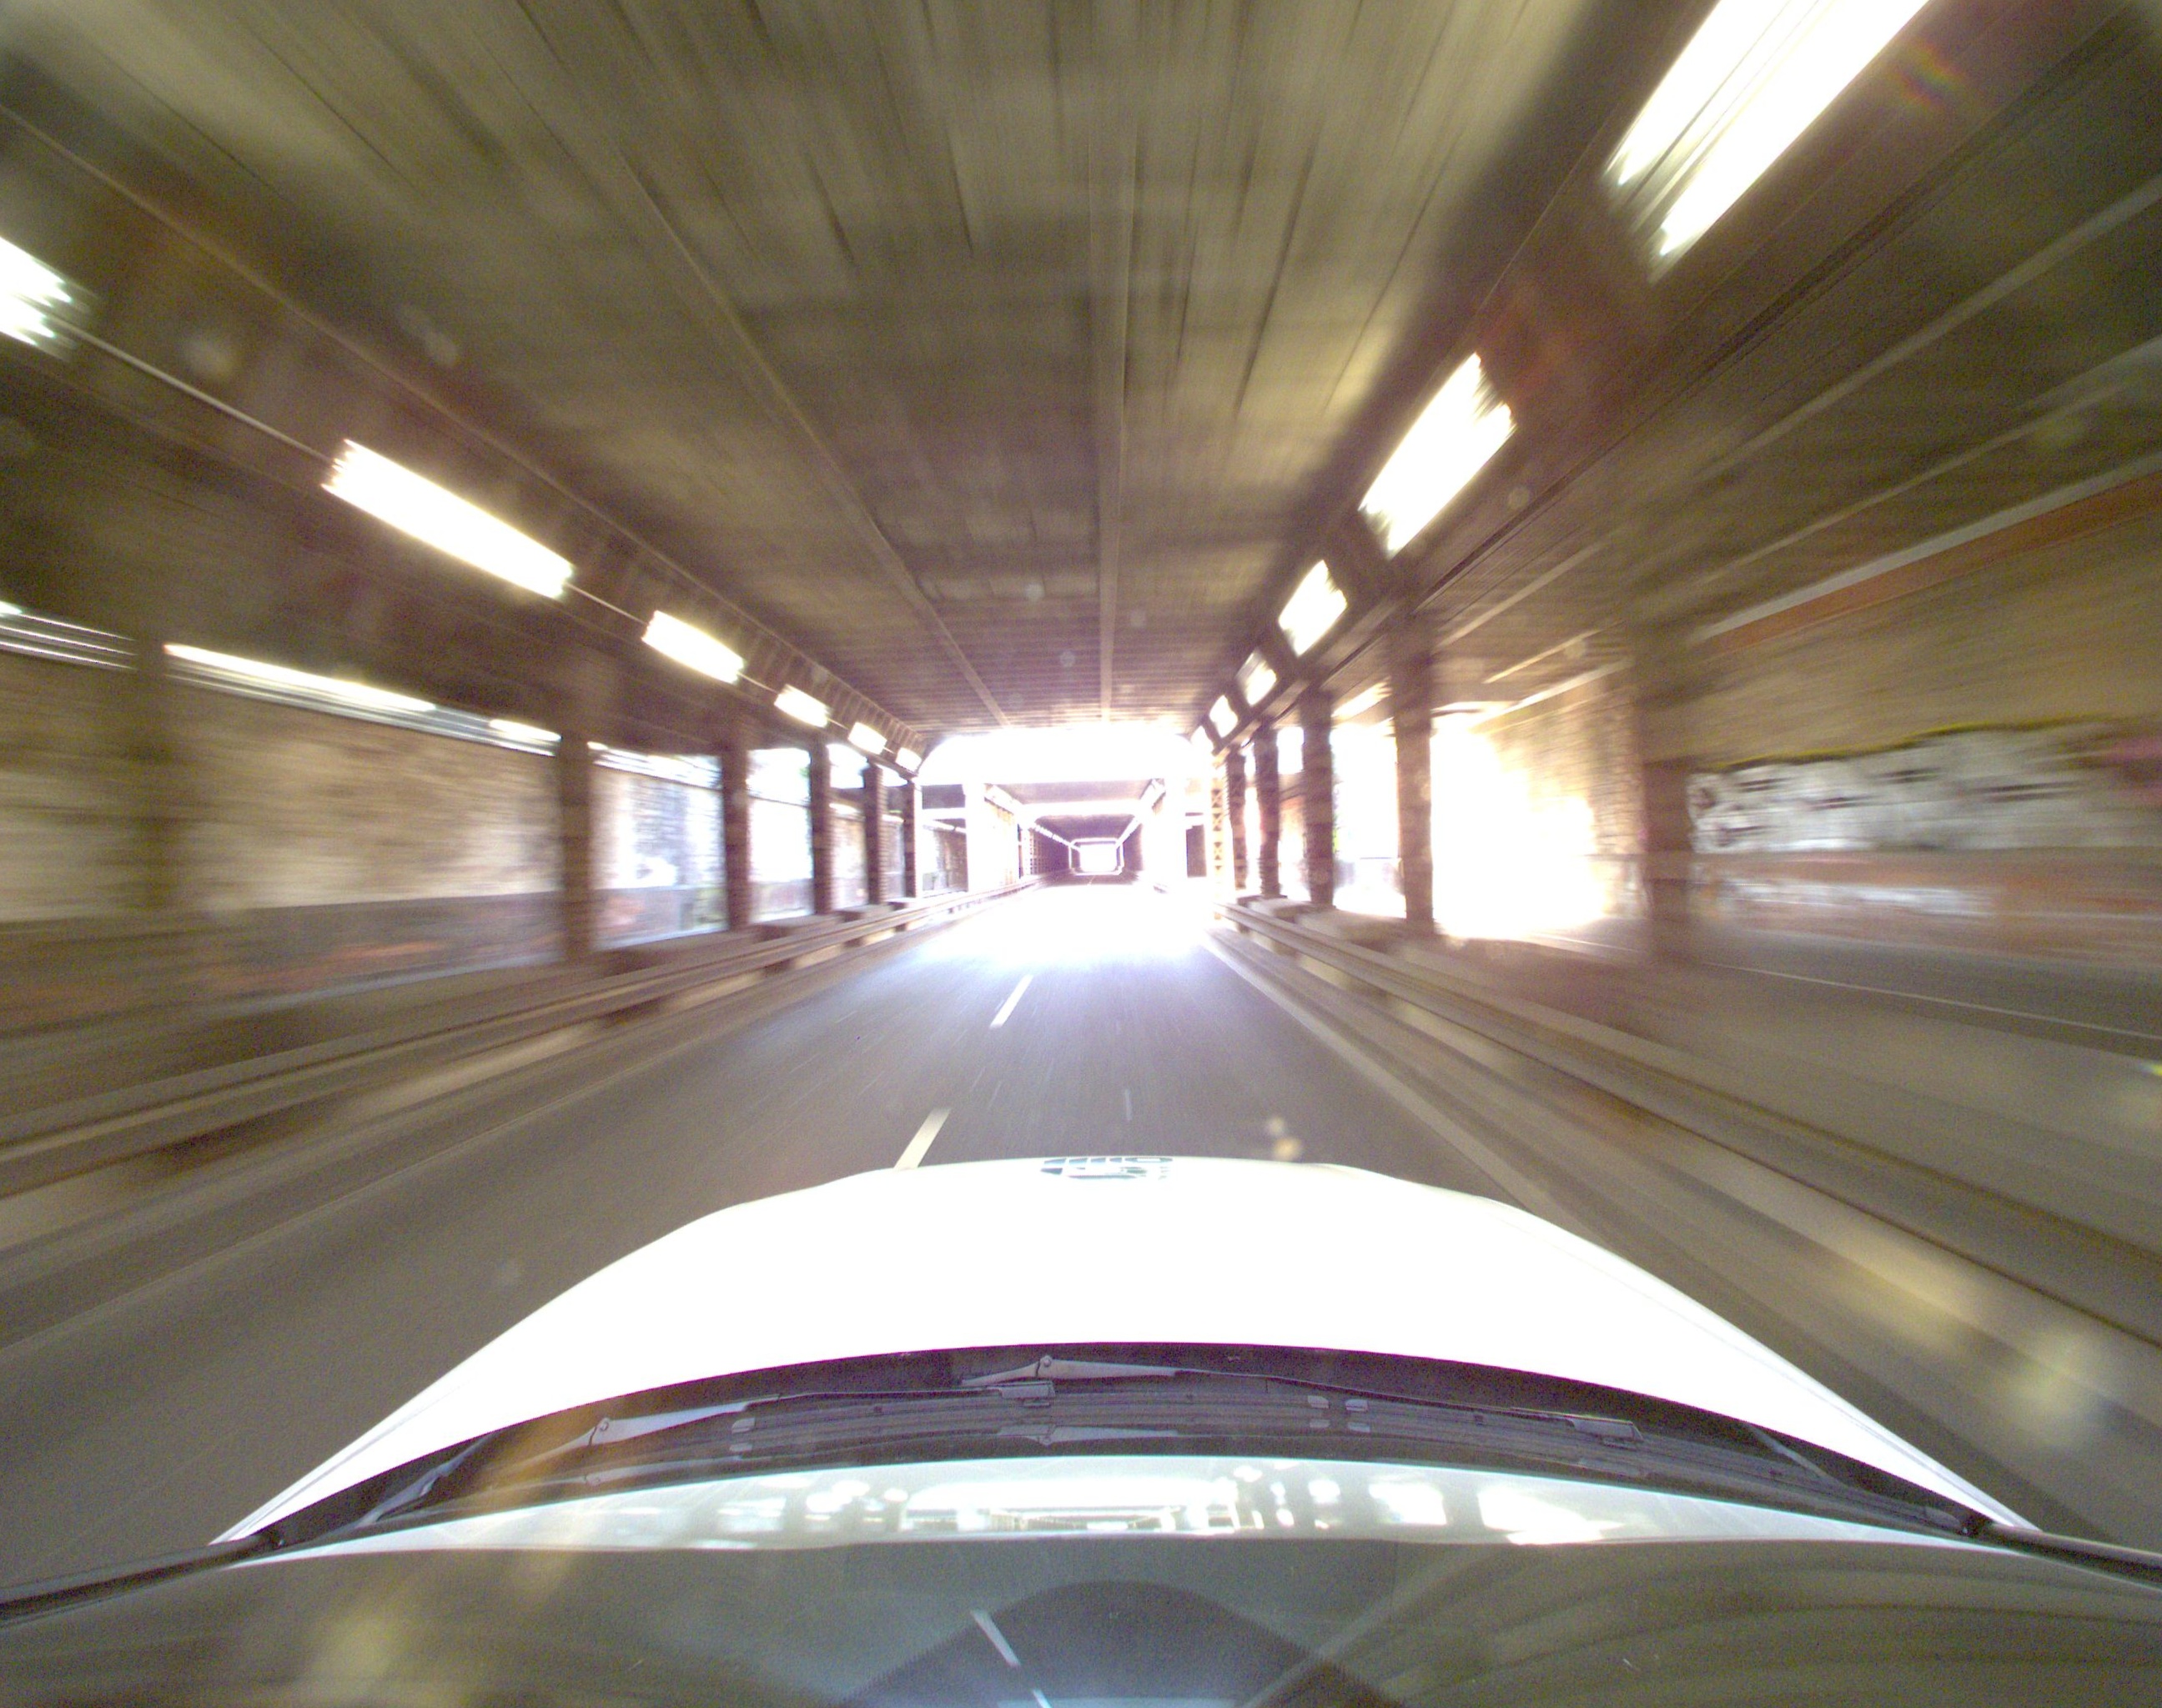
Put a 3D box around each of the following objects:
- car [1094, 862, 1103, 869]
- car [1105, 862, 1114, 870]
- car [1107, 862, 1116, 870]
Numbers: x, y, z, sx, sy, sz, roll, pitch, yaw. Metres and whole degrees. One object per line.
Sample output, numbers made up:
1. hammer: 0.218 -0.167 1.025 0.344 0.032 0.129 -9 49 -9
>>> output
1. car: 4.431 2.907 206.077 1.986 1.784 4.001 -1 -1 1
2. car: 6.959 2.882 199.403 1.986 1.784 4.001 -1 -1 1
3. car: 7.163 2.841 190.061 1.986 1.784 4.001 -1 -1 1
